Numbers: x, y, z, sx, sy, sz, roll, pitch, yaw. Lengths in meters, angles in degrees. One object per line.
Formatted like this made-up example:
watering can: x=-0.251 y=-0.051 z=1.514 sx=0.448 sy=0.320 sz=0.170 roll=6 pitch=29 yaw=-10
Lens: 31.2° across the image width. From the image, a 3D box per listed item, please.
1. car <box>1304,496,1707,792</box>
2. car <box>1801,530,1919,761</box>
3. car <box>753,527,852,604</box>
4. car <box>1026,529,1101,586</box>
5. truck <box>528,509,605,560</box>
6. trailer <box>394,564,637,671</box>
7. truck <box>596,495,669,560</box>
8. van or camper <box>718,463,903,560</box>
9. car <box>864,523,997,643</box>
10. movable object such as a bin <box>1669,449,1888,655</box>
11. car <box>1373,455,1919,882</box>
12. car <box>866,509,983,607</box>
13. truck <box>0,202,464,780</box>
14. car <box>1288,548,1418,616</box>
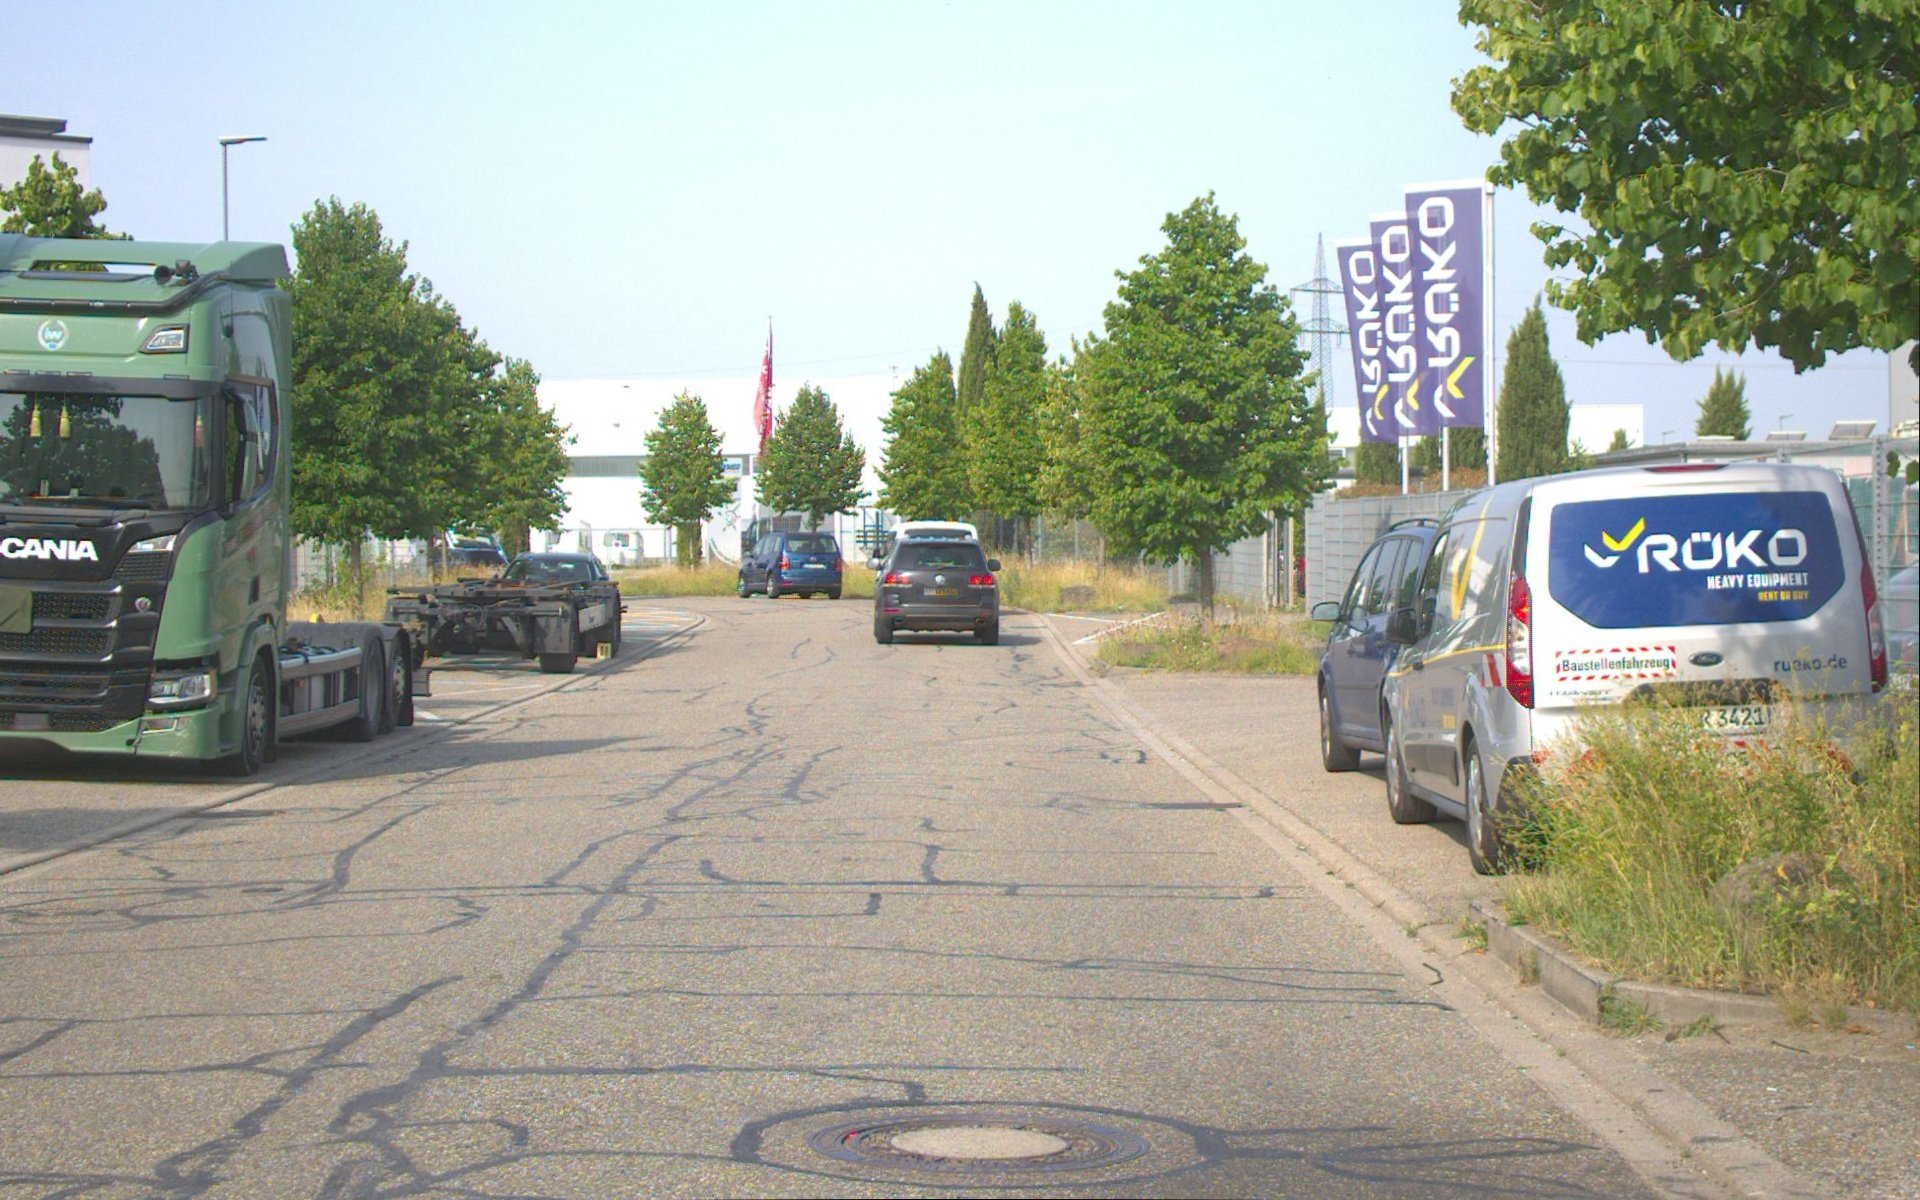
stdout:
car: x=3.374 y=0.243 z=22.053 sx=1.825 sy=1.714 sz=4.249 roll=0 pitch=0 yaw=-1
car: x=8.146 y=0.266 z=23.625 sx=4.224 sy=1.490 sz=1.900 roll=0 pitch=2 yaw=-4
car: x=-3.876 y=-0.869 z=84.059 sx=1.993 sy=1.798 sz=4.001 roll=1 pitch=1 yaw=-8
car: x=3.081 y=-1.294 z=103.129 sx=1.722 sy=1.637 sz=4.001 roll=1 pitch=1 yaw=-6
truck: x=-17.634 y=-2.945 z=154.355 sx=2.450 sy=2.257 sz=8.002 roll=0 pitch=1 yaw=0
trailer: x=-6.065 y=0.186 z=47.862 sx=2.130 sy=1.228 sz=7.157 roll=1 pitch=2 yaw=3
truck: x=-14.649 y=-3.259 z=154.294 sx=2.450 sy=2.816 sz=8.002 roll=0 pitch=1 yaw=0
van or camper: x=-4.608 y=-2.632 z=104.344 sx=2.349 sy=2.838 sz=7.342 roll=0 pitch=1 yaw=-31
car: x=-0.452 y=-0.297 z=54.697 sx=1.993 sy=1.798 sz=4.000 roll=1 pitch=1 yaw=0
movable object such as a bin: x=11.530 y=-0.693 z=48.748 sx=1.887 sy=2.742 sz=5.160 roll=-1 pitch=1 yaw=0
car: x=3.241 y=0.276 z=16.685 sx=1.993 sy=1.783 sz=4.600 roll=0 pitch=0 yaw=1
car: x=-0.751 y=-0.862 z=69.281 sx=1.993 sy=1.893 sz=4.468 roll=0 pitch=1 yaw=-5
truck: x=-6.117 y=-0.782 z=28.131 sx=2.455 sy=3.868 sz=9.802 roll=1 pitch=0 yaw=1
car: x=8.229 y=-0.399 z=72.350 sx=1.880 sy=1.353 sz=4.774 roll=0 pitch=1 yaw=-4
